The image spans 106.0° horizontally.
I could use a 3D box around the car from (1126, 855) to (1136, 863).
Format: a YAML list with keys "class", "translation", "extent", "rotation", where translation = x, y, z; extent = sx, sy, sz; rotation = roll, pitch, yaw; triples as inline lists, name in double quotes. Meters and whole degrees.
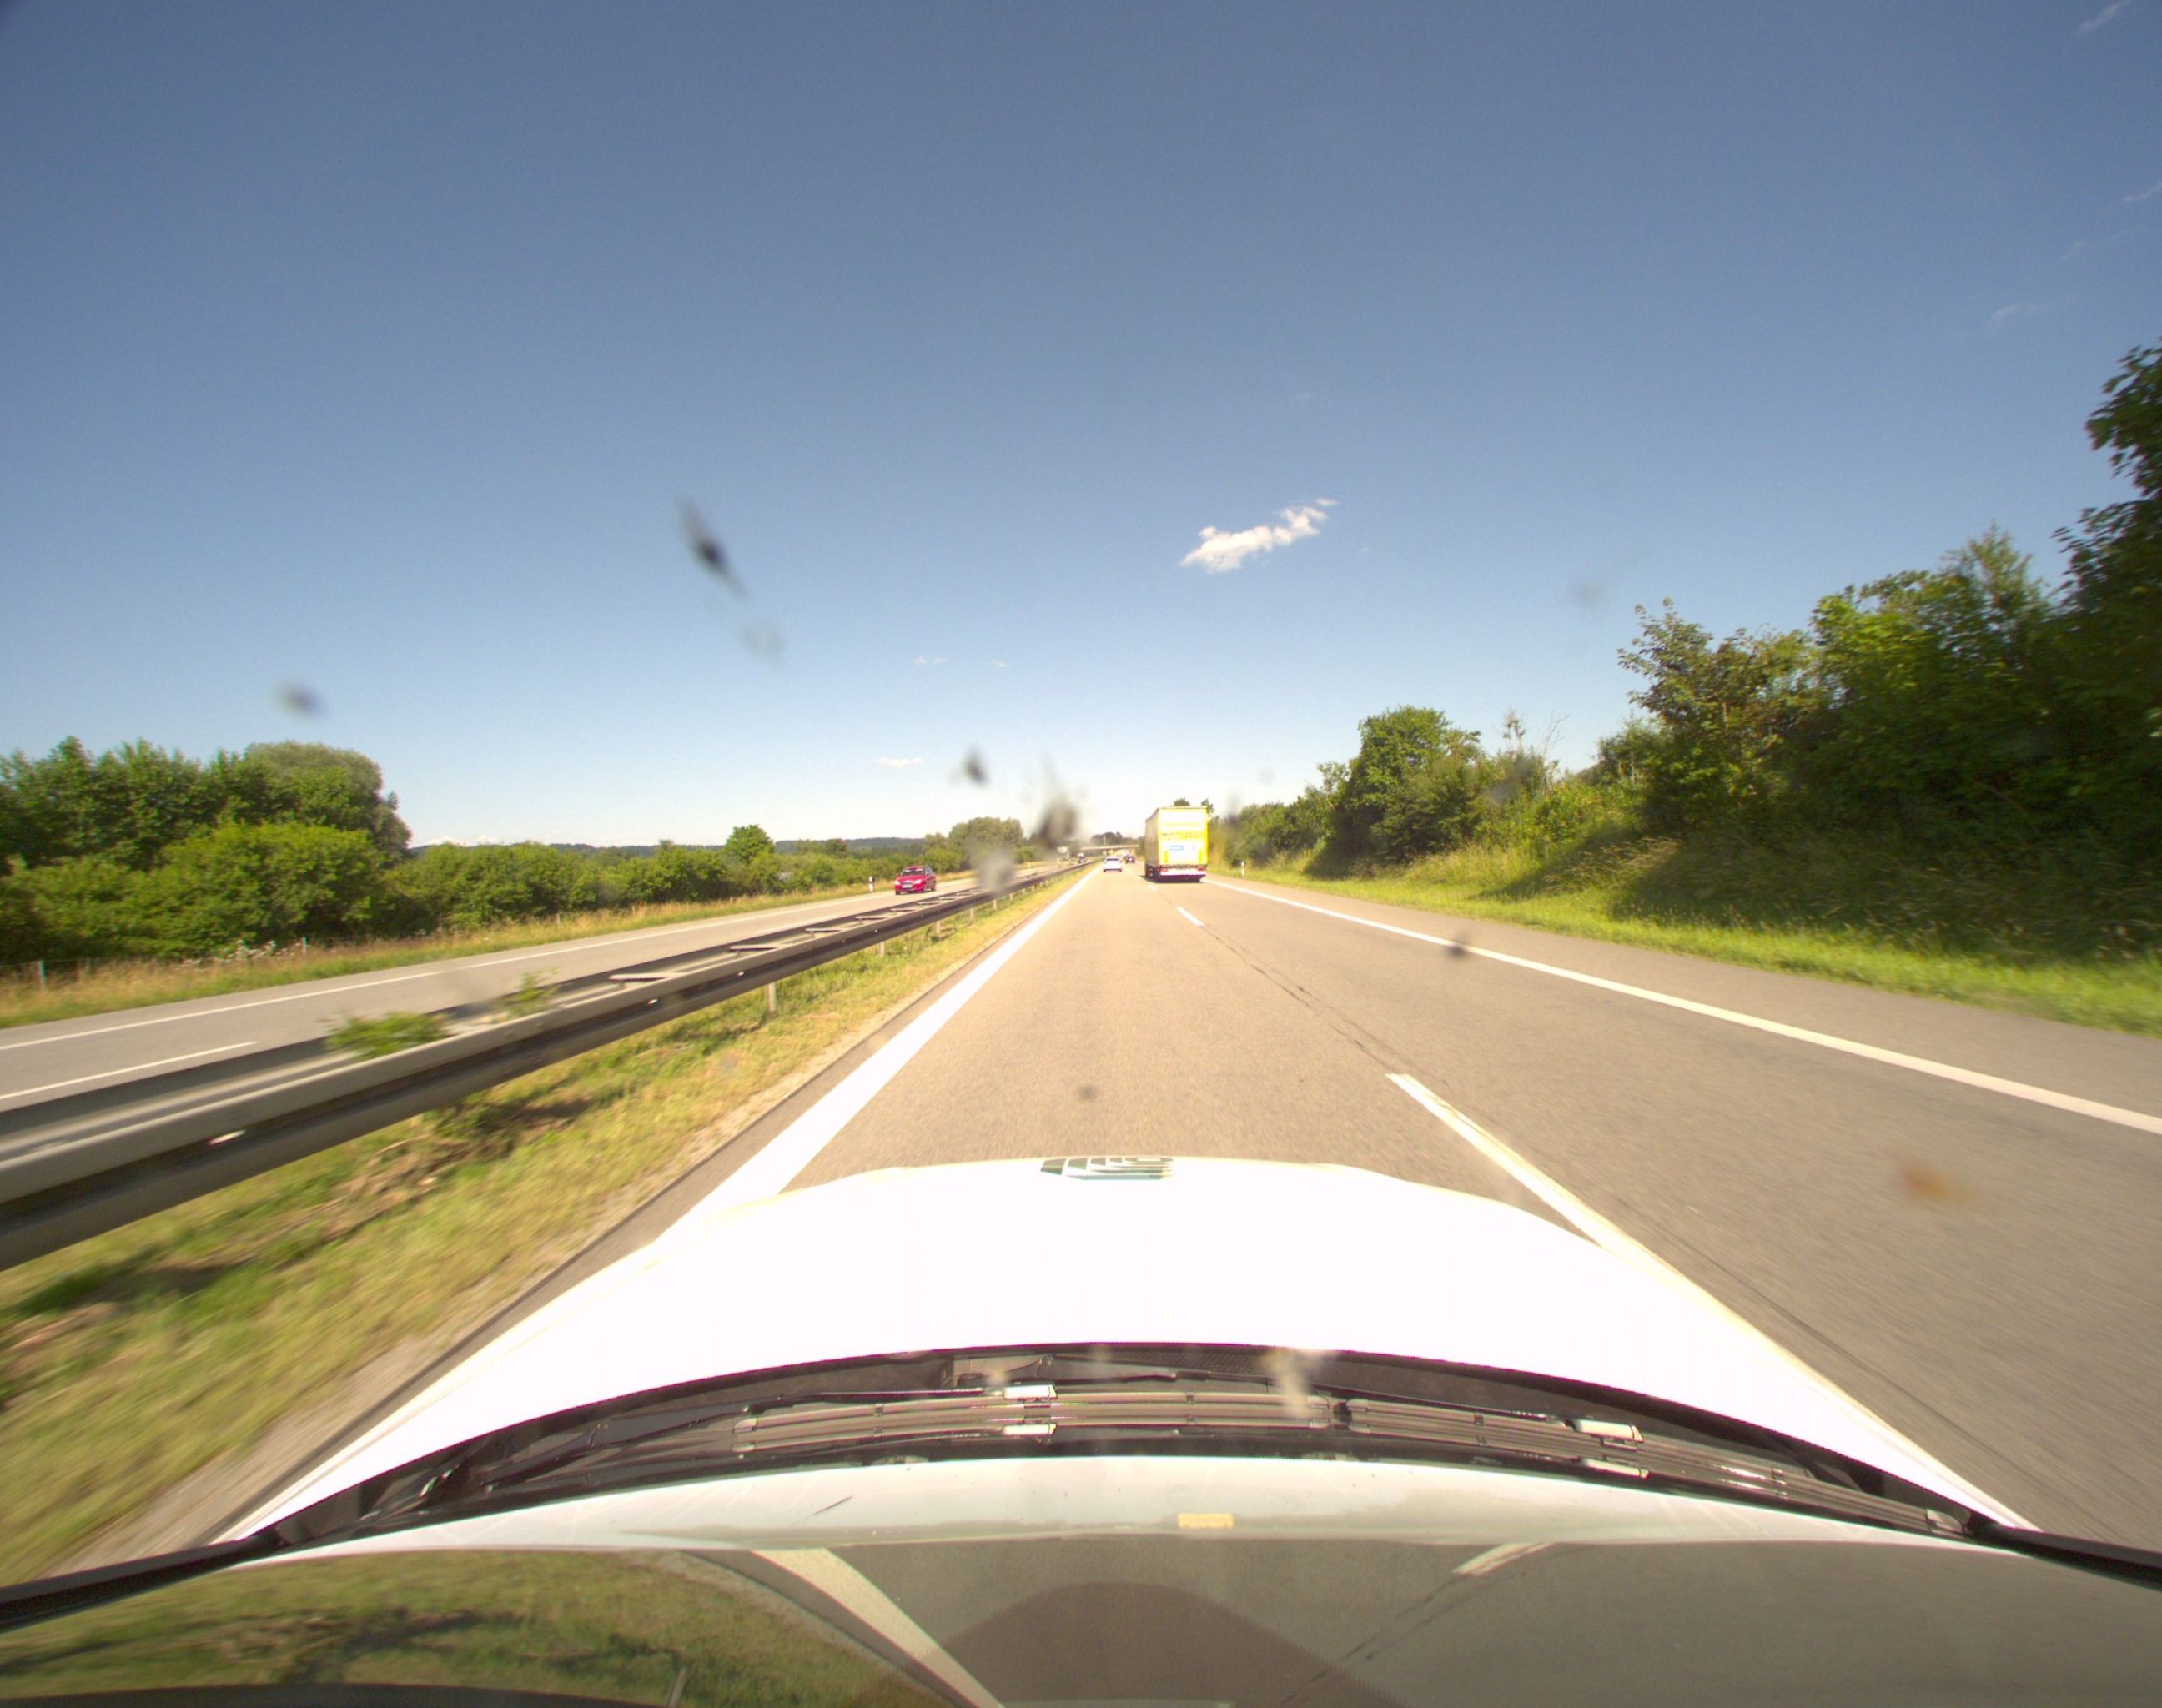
- class: "car"
  translation: [9.701, 1.058, 158.814]
  extent: [1.835, 1.520, 4.003]
  rotation: [0, 0, 3]

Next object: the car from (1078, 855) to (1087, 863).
- class: "car"
  translation: [0.304, 1.114, 185.188]
  extent: [1.719, 1.582, 4.770]
  rotation: [-5, -1, 3]

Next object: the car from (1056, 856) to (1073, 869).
- class: "car"
  translation: [-2.486, 1.262, 123.714]
  extent: [1.942, 1.771, 4.753]
  rotation: [-5, -1, 4]

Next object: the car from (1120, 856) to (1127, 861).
- class: "car"
  translation: [13.708, 1.422, 262.316]
  extent: [1.895, 1.683, 4.732]
  rotation: [1, 0, 2]

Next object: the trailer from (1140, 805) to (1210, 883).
- class: "trailer"
  translation: [5.388, -0.479, 48.978]
  extent: [3.172, 4.059, 13.193]
  rotation: [0, 0, 2]

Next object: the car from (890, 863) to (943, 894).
- class: "car"
  translation: [-9.114, 1.332, 45.450]
  extent: [1.723, 1.511, 4.483]
  rotation: [-4, -1, 3]

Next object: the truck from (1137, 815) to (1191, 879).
- class: "truck"
  translation: [5.578, -0.457, 55.897]
  extent: [3.157, 4.114, 6.389]
  rotation: [0, 0, 1]

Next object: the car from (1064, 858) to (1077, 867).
- class: "car"
  translation: [-1.747, 1.403, 139.535]
  extent: [1.759, 1.420, 4.474]
  rotation: [-5, -1, 4]

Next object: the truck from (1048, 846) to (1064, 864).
- class: "truck"
  translation: [-5.865, 0.288, 192.544]
  extent: [3.158, 4.114, 6.390]
  rotation: [-4, 0, 1]

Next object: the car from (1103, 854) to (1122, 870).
- class: "car"
  translation: [3.028, 0.761, 77.956]
  extent: [1.835, 1.415, 4.003]
  rotation: [0, 0, 3]
